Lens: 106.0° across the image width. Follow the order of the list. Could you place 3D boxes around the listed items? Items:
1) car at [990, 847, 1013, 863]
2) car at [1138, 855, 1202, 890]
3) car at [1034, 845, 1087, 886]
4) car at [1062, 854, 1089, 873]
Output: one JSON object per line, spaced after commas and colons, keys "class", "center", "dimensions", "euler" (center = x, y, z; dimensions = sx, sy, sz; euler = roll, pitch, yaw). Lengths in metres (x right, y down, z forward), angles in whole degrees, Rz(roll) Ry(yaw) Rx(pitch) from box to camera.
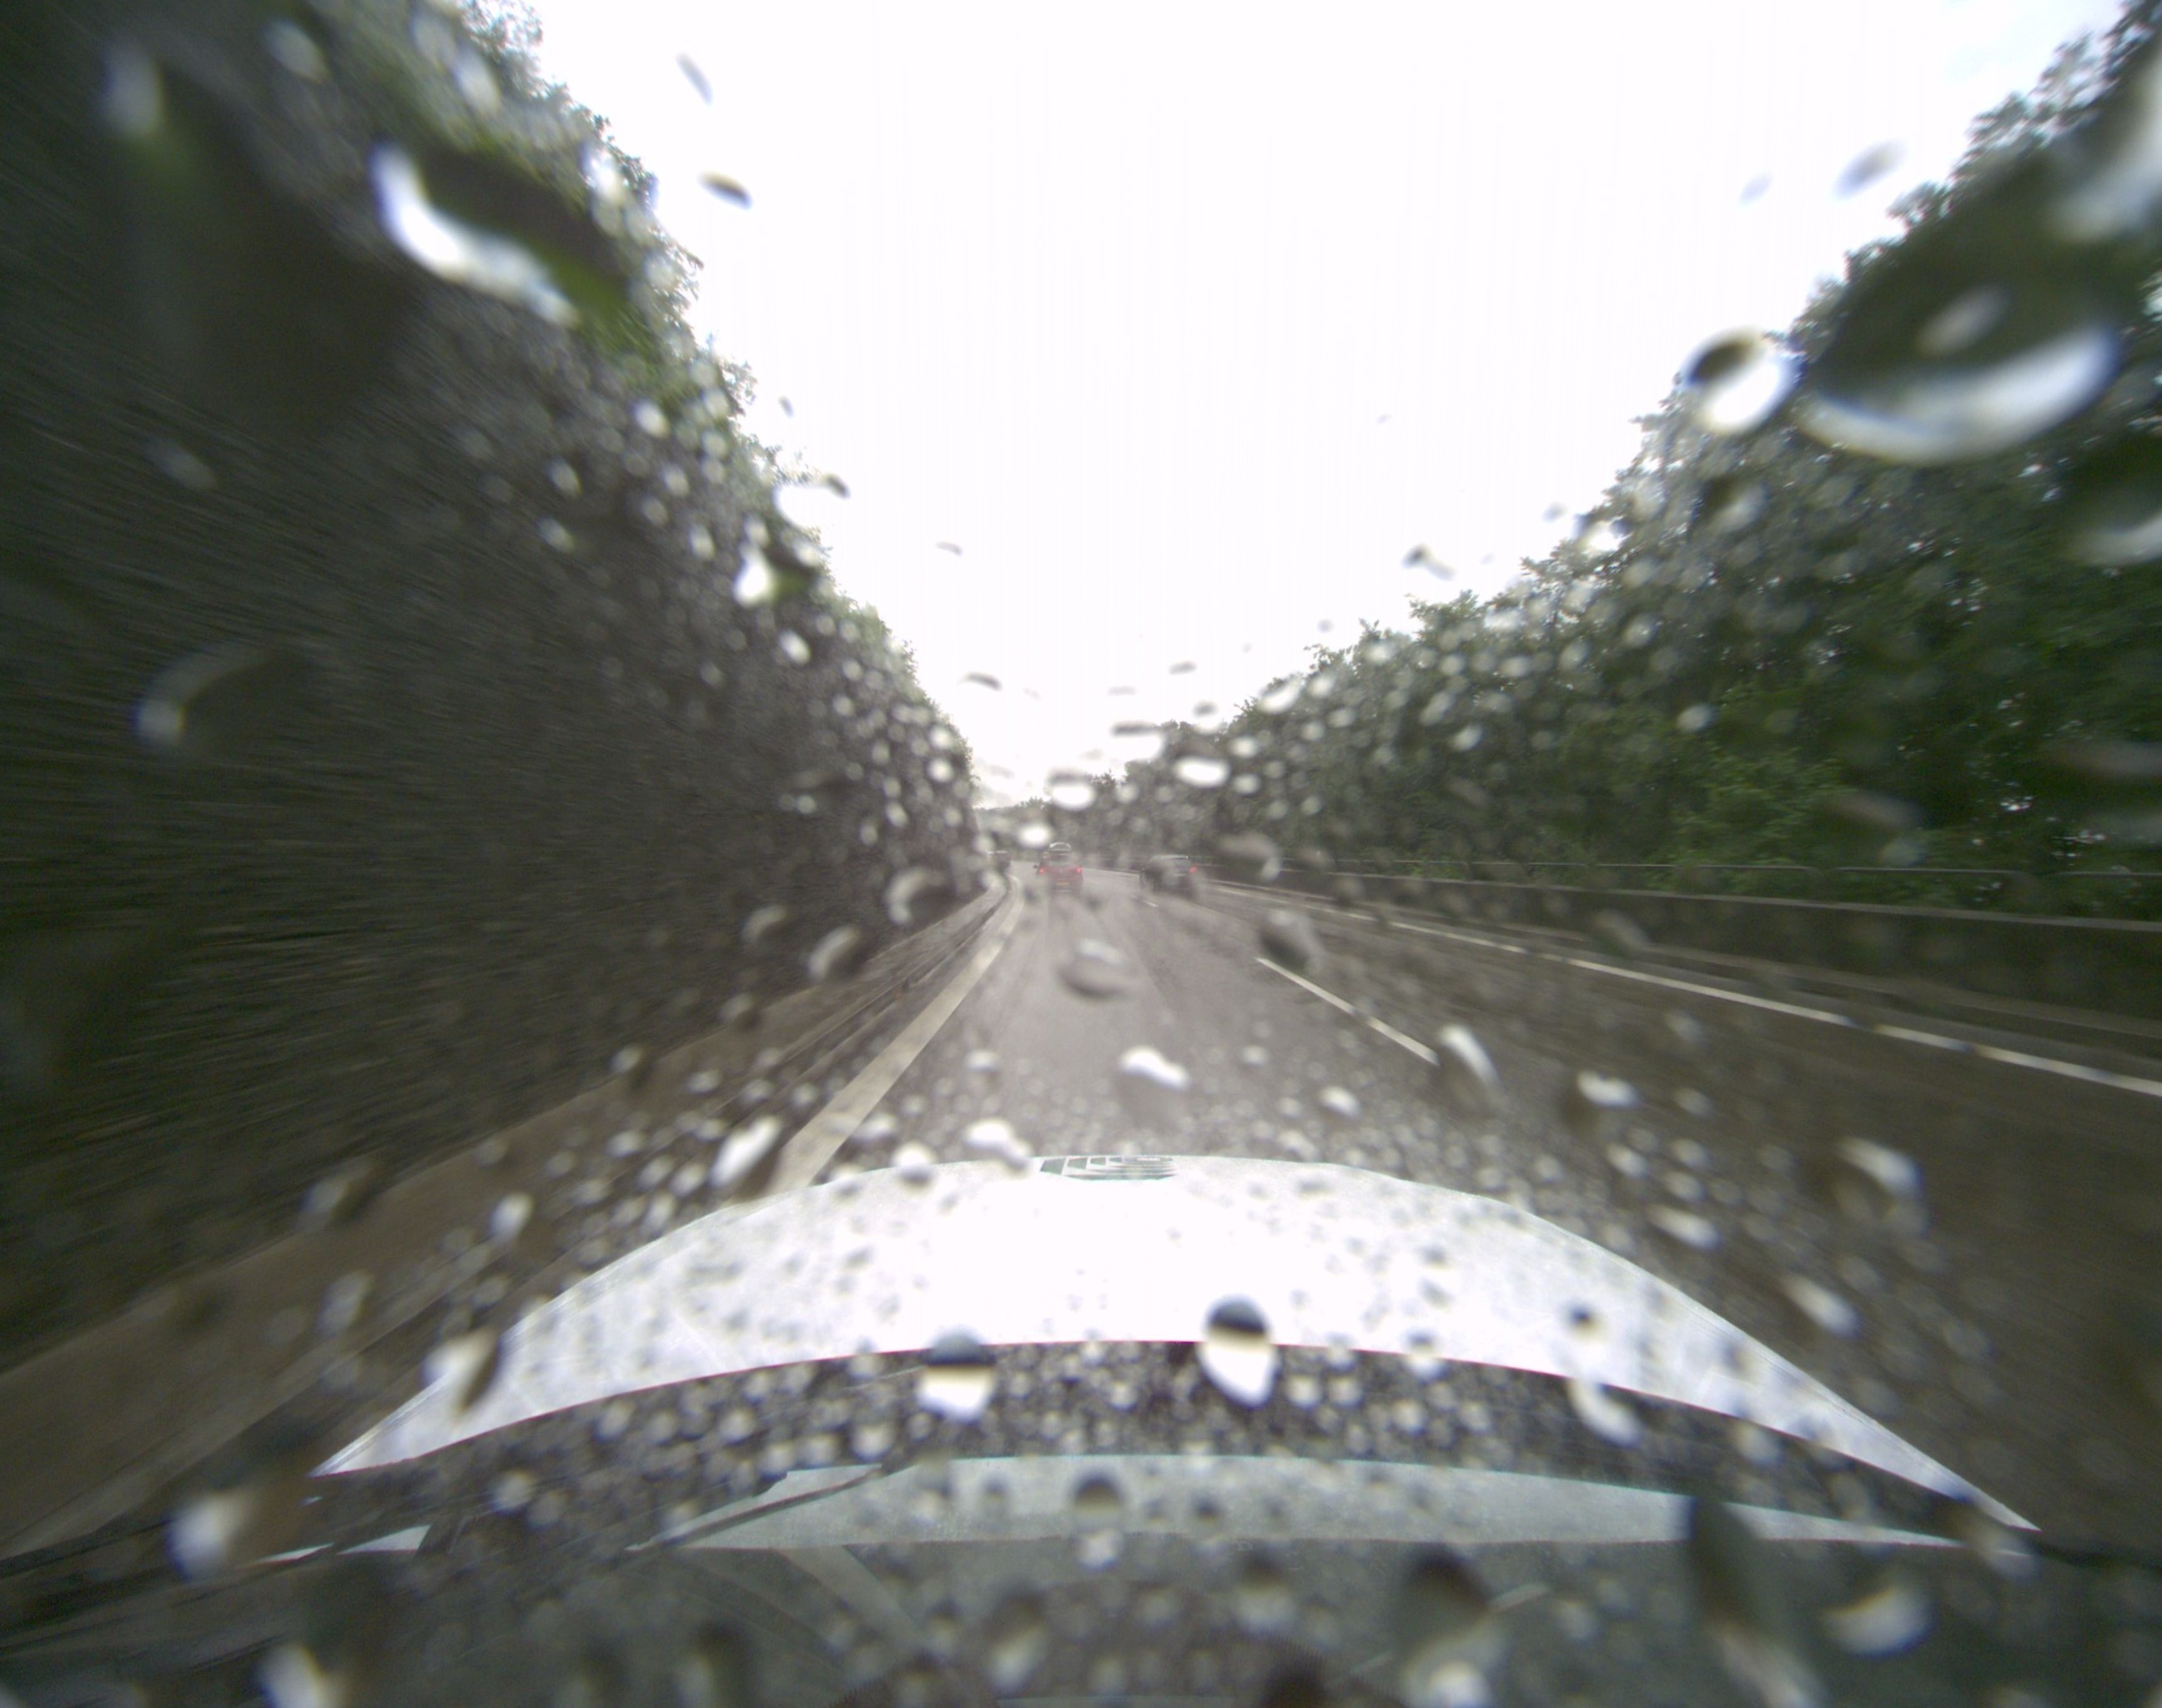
{"class": "car", "center": [-8.556, 0.127, 87.192], "dimensions": [1.995, 1.684, 3.983], "euler": [0, -1, -12]}
{"class": "car", "center": [3.519, 0.720, 32.792], "dimensions": [1.797, 1.308, 3.993], "euler": [0, -1, -5]}
{"class": "car", "center": [-0.878, 0.442, 32.926], "dimensions": [1.989, 1.552, 3.995], "euler": [-1, 0, -3]}
{"class": "car", "center": [-0.488, 0.805, 71.983], "dimensions": [1.991, 1.552, 3.992], "euler": [0, 0, -6]}
